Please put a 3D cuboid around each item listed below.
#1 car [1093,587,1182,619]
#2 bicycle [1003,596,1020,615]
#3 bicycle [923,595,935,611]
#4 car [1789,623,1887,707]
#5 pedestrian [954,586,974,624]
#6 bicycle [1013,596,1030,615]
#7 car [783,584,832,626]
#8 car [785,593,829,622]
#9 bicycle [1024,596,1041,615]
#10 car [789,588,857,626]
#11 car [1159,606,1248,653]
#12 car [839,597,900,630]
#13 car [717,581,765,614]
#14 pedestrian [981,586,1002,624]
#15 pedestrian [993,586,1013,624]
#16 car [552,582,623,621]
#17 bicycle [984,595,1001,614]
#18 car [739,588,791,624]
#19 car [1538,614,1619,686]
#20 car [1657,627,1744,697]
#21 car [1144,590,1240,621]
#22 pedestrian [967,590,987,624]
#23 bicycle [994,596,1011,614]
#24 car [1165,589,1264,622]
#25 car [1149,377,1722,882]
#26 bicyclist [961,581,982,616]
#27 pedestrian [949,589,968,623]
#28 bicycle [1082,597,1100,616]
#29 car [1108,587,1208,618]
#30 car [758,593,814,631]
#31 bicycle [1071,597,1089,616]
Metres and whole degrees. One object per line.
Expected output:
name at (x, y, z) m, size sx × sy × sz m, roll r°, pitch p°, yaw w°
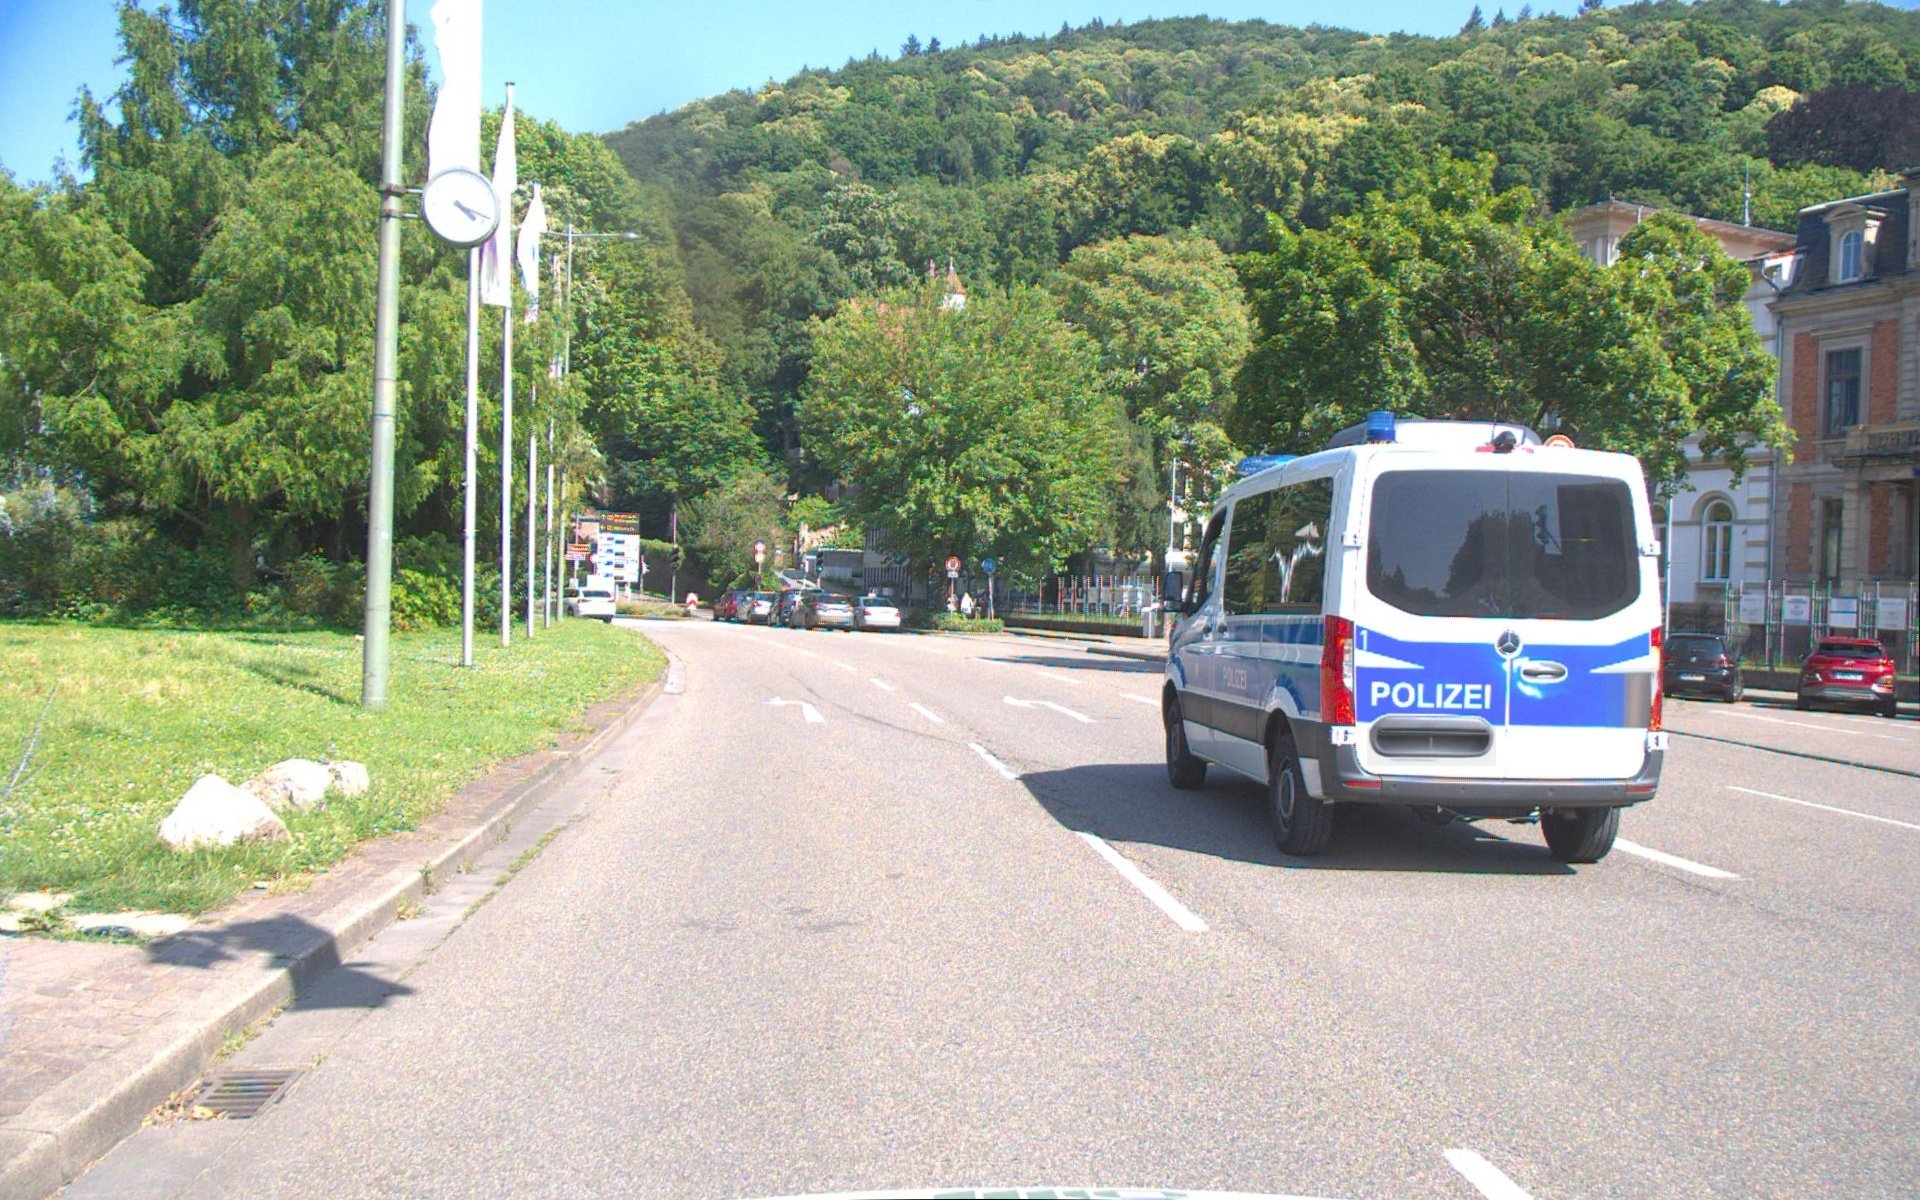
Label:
car at (8.980, 0.152, 83.664) m, size 4.083 × 1.501 × 1.866 m, roll 1°, pitch 0°, yaw -21°
bicycle at (3.133, 0.307, 100.223) m, size 0.528 × 1.104 × 1.828 m, roll 1°, pitch 0°, yaw -14°
bicycle at (-1.925, 0.189, 102.203) m, size 0.398 × 0.957 × 1.336 m, roll 1°, pitch 1°, yaw -15°
car at (18.650, 1.336, 35.209) m, size 1.711 × 1.602 × 3.872 m, roll 2°, pitch 0°, yaw 27°
pedestrian at (0.175, 0.235, 82.989) m, size 0.758 × 1.886 × 0.826 m, roll 2°, pitch 0°, yaw -15°
bicycle at (3.748, 0.320, 100.273) m, size 0.528 × 1.104 × 1.828 m, roll 1°, pitch 0°, yaw -14°
car at (-7.572, 0.216, 81.705) m, size 1.728 × 1.972 × 3.478 m, roll 2°, pitch 0°, yaw -16°
car at (-8.342, 0.398, 89.845) m, size 1.728 × 1.486 × 3.478 m, roll 2°, pitch 0°, yaw -16°
bicycle at (4.390, 0.333, 100.455) m, size 0.528 × 1.104 × 1.828 m, roll 1°, pitch 0°, yaw -14°
car at (-5.287, 0.254, 63.531) m, size 1.729 × 1.357 × 3.781 m, roll 2°, pitch 0°, yaw -19°
car at (8.465, 1.009, 57.292) m, size 1.787 × 1.487 × 4.102 m, roll 2°, pitch 0°, yaw 27°
car at (-3.759, 0.533, 68.344) m, size 1.728 × 1.234 × 3.478 m, roll 2°, pitch 0°, yaw -16°
car at (-10.505, -0.141, 79.127) m, size 1.728 × 1.486 × 3.478 m, roll 2°, pitch 0°, yaw -16°
pedestrian at (1.597, 0.226, 83.720) m, size 0.759 × 1.886 × 0.825 m, roll 2°, pitch 0°, yaw -17°
pedestrian at (2.198, 0.254, 84.390) m, size 0.759 × 1.886 × 0.825 m, roll 2°, pitch 0°, yaw -17°
car at (-15.423, 0.052, 68.408) m, size 1.824 × 1.485 × 3.456 m, roll 2°, pitch 0°, yaw -32°
bicycle at (1.954, 0.283, 99.912) m, size 0.528 × 1.104 × 1.828 m, roll 1°, pitch 0°, yaw -14°
car at (-8.757, 0.272, 74.074) m, size 1.728 × 1.486 × 3.630 m, roll 2°, pitch 0°, yaw -16°
car at (15.681, 1.217, 41.813) m, size 1.674 × 1.658 × 4.314 m, roll 2°, pitch 0°, yaw 23°
car at (17.022, 1.381, 37.936) m, size 1.570 × 1.442 × 3.815 m, roll 2°, pitch 0°, yaw 27°
car at (10.724, 0.249, 76.565) m, size 4.022 × 1.359 × 1.812 m, roll 1°, pitch 0°, yaw -19°
pedestrian at (0.847, 0.340, 83.642) m, size 0.758 × 1.692 × 0.826 m, roll 2°, pitch 0°, yaw -15°
bicycle at (2.568, 0.296, 100.066) m, size 0.528 × 1.104 × 1.828 m, roll 1°, pitch 0°, yaw -14°
car at (11.462, 0.260, 74.554) m, size 3.978 × 1.359 × 1.851 m, roll 1°, pitch 0°, yaw -19°
car at (2.772, 0.170, 11.053) m, size 2.033 × 2.552 × 4.924 m, roll 2°, pitch 0°, yaw -4°
bicyclist at (0.640, -0.079, 93.860) m, size 1.103 × 1.966 × 0.748 m, roll 2°, pitch 0°, yaw -4°
pedestrian at (-0.079, 0.294, 85.100) m, size 0.758 × 1.692 × 0.826 m, roll 2°, pitch 0°, yaw -16°
bicycle at (8.003, 0.405, 101.130) m, size 0.528 × 1.104 × 1.828 m, roll 1°, pitch 0°, yaw -14°
car at (9.426, 0.132, 78.822) m, size 4.398 × 1.359 × 1.812 m, roll 1°, pitch 0°, yaw -19°
car at (-7.303, 0.483, 69.262) m, size 1.728 × 1.486 × 3.478 m, roll 2°, pitch 0°, yaw -16°
bicycle at (7.318, 0.392, 101.140) m, size 0.528 × 1.104 × 1.828 m, roll 1°, pitch 0°, yaw -14°
